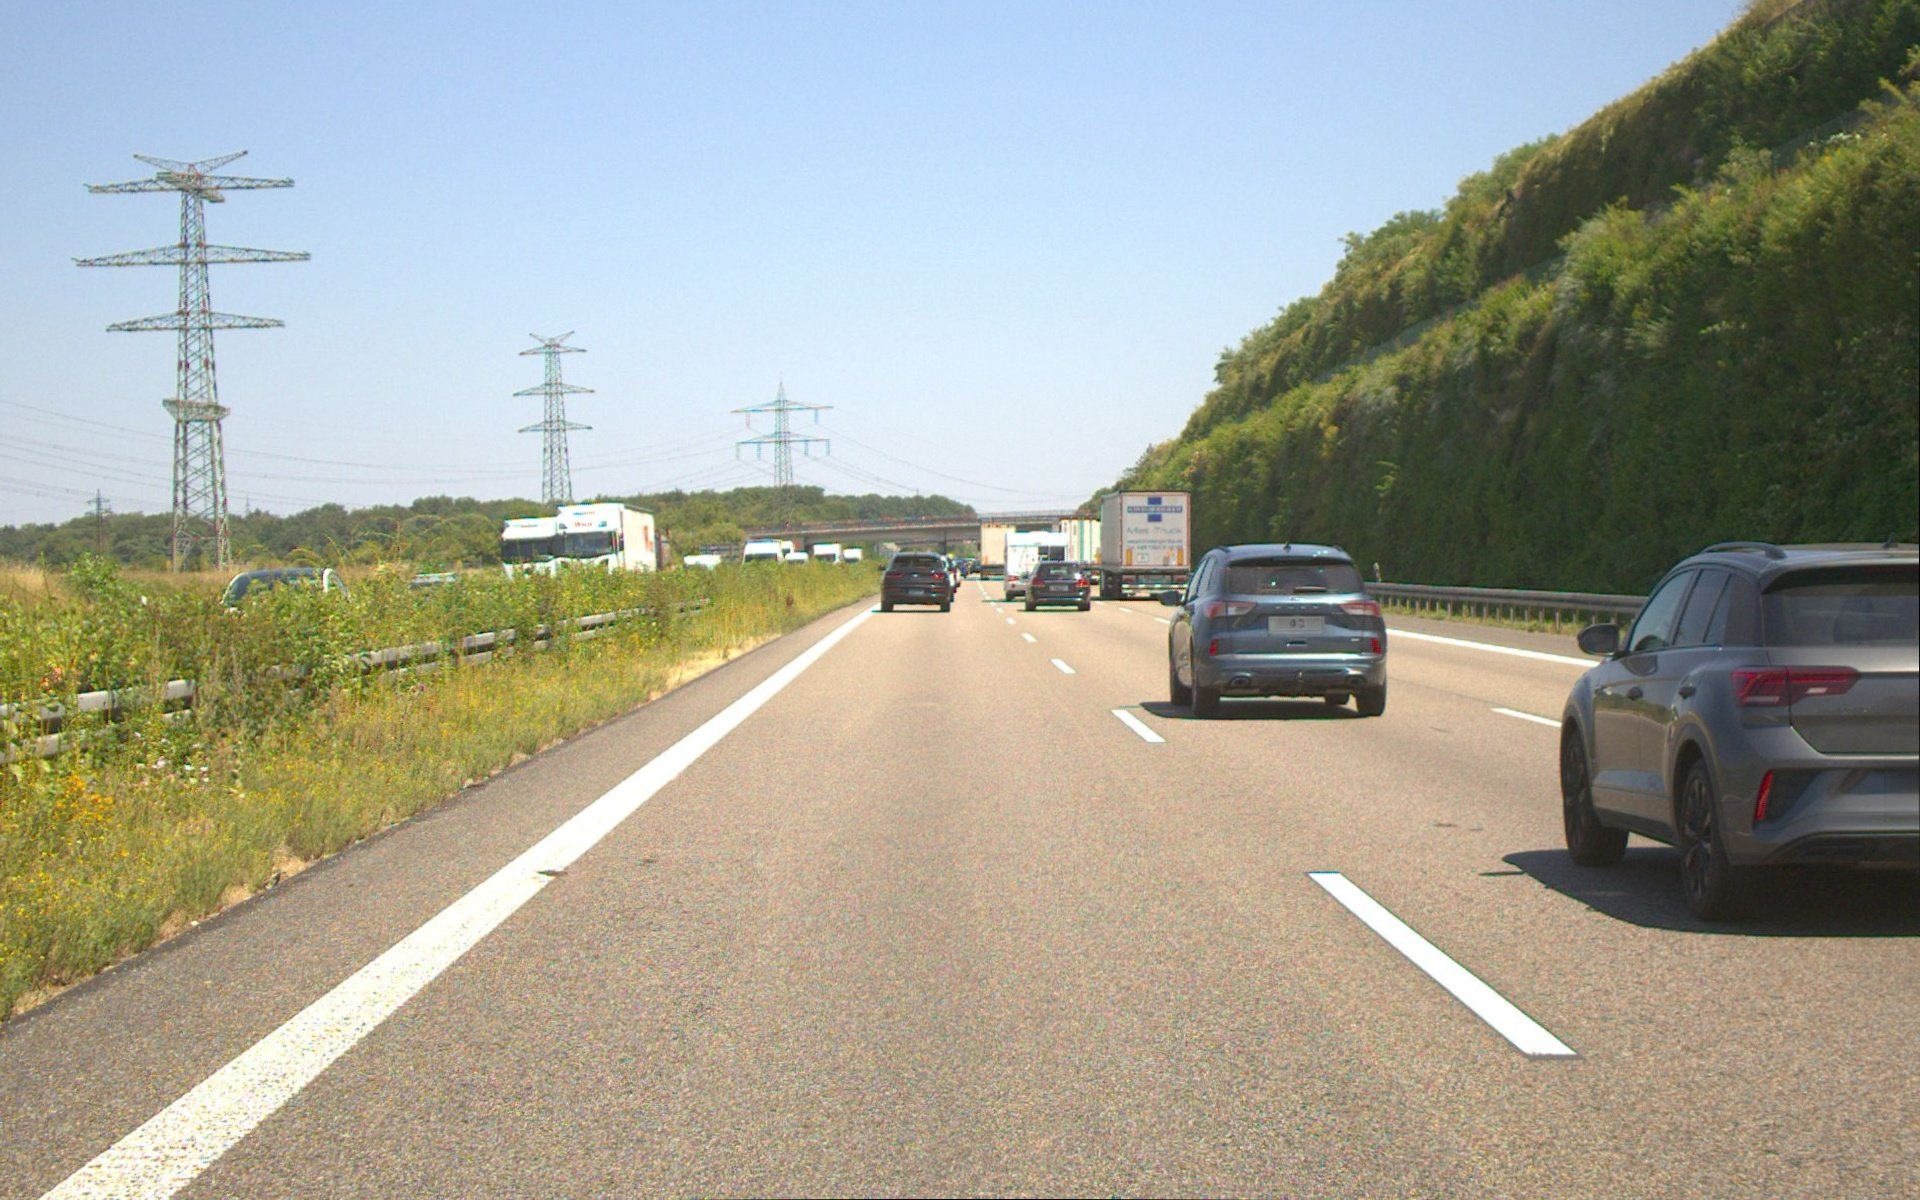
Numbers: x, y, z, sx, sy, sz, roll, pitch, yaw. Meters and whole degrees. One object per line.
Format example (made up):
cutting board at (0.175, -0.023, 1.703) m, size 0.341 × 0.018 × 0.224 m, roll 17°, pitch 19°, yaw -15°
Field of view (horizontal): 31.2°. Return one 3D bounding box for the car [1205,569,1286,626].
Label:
car at (7.443, -0.077, 89.967) m, size 1.684 × 1.423 × 4.454 m, roll 0°, pitch 1°, yaw -1°

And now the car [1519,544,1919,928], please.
car at (3.794, 0.511, 15.728) m, size 1.749 × 1.520 × 3.995 m, roll -1°, pitch 1°, yaw -1°

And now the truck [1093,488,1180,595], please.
truck at (7.068, -2.350, 138.477) m, size 3.136 × 4.127 × 5.504 m, roll -1°, pitch 1°, yaw 0°

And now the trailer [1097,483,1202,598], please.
trailer at (7.166, -2.253, 131.662) m, size 3.183 × 4.107 × 13.432 m, roll -1°, pitch 1°, yaw 0°

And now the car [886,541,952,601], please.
car at (-1.181, -0.838, 99.708) m, size 1.830 × 1.665 × 4.000 m, roll -1°, pitch 1°, yaw -1°

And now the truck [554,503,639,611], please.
truck at (-14.207, -1.680, 134.615) m, size 2.805 × 4.144 × 5.570 m, roll 0°, pitch 1°, yaw -1°

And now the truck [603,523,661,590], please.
truck at (-18.775, -2.517, 197.105) m, size 2.725 × 3.715 × 5.646 m, roll -2°, pitch 1°, yaw 0°

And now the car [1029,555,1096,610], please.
car at (3.002, -0.530, 101.366) m, size 1.830 × 1.520 × 4.000 m, roll -1°, pitch 1°, yaw 1°

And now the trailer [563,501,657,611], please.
trailer at (-14.331, -1.821, 141.813) m, size 2.769 × 4.335 × 14.241 m, roll 0°, pitch 1°, yaw -1°

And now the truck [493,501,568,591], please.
truck at (-18.702, -2.340, 149.877) m, size 2.775 × 3.840 × 5.571 m, roll 0°, pitch 1°, yaw -2°

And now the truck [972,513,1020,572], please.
truck at (2.696, -4.318, 259.870) m, size 3.409 × 4.265 × 10.607 m, roll -1°, pitch 1°, yaw 0°

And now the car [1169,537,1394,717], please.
car at (3.091, 0.216, 33.779) m, size 1.794 × 1.647 × 4.138 m, roll 0°, pitch 1°, yaw 0°

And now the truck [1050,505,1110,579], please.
truck at (7.186, -3.477, 207.079) m, size 3.119 × 4.265 × 11.934 m, roll -1°, pitch 1°, yaw 0°

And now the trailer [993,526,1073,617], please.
trailer at (2.677, -1.094, 128.799) m, size 2.610 × 3.202 × 9.953 m, roll -1°, pitch 1°, yaw -1°
